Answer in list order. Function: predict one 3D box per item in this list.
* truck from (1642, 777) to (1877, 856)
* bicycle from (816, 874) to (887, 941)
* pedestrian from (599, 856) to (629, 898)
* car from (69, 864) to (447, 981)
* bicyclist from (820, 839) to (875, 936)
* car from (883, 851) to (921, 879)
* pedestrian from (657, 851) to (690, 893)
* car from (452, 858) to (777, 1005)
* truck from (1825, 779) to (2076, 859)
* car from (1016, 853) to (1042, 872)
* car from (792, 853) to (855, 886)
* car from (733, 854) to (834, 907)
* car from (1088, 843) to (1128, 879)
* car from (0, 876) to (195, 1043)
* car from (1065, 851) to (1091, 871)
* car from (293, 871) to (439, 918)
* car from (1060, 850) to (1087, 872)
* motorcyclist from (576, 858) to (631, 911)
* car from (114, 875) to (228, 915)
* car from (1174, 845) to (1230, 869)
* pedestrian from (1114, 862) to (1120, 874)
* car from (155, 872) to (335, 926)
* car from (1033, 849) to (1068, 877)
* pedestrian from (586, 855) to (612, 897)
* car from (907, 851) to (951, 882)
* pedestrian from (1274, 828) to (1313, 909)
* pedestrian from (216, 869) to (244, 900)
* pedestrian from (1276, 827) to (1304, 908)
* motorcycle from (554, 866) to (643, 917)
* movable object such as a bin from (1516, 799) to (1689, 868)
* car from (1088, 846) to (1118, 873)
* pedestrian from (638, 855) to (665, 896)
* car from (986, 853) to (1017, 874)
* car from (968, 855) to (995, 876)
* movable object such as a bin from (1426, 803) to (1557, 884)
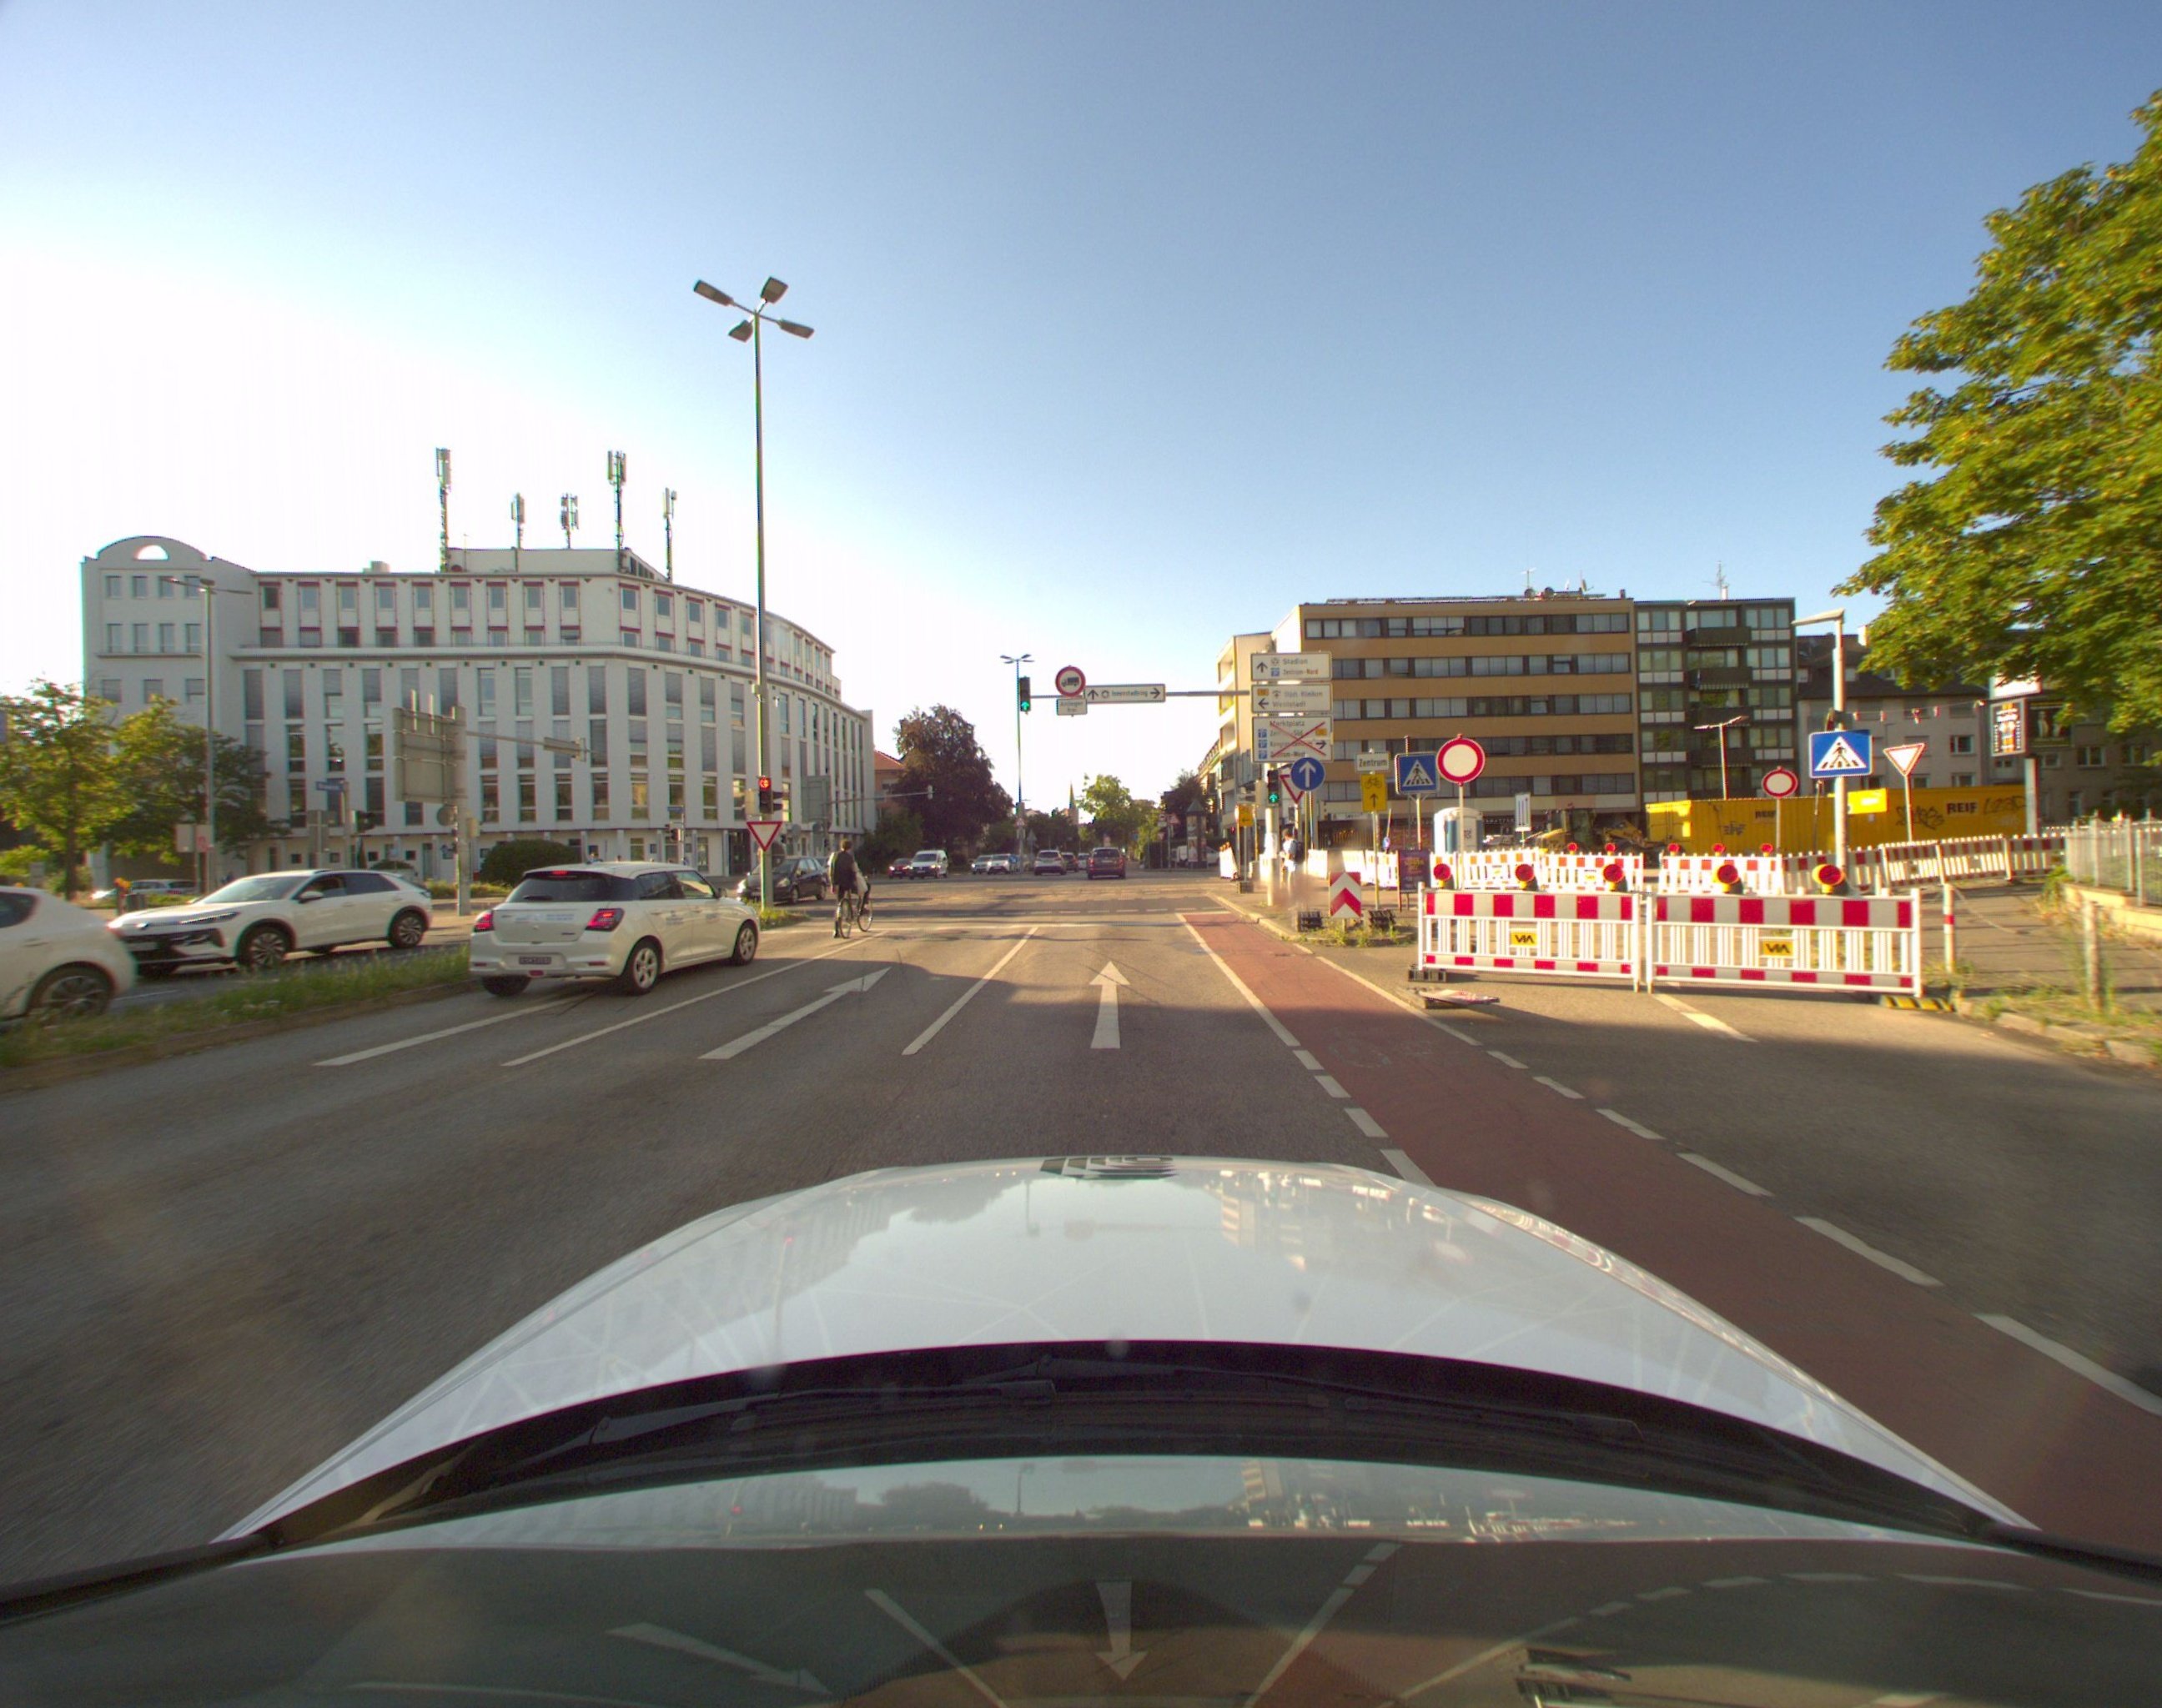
[{"bbox_3d":[27.489,-1.467,33.205,7.312,2.898,2.806,-2,0,-2],"label":"truck"},{"bbox_3d":[-4.312,0.968,15.468,0.697,1.100,2.257,-2,0,-1],"label":"bicycle"},{"bbox_3d":[-20.950,1.009,36.561,0.752,1.842,0.822,-2,0,17],"label":"pedestrian"},{"bbox_3d":[-13.291,0.987,13.674,1.679,1.498,4.514,-2,0,0],"label":"car"},{"bbox_3d":[-4.336,0.604,15.187,0.689,1.728,0.987,-2,0,-1],"label":"bicyclist"},{"bbox_3d":[-12.658,0.737,57.733,1.743,1.811,4.048,-2,0,-1],"label":"car"},{"bbox_3d":[-18.562,0.821,37.142,0.620,1.868,1.134,-2,0,30],"label":"pedestrian"},{"bbox_3d":[-5.587,0.818,10.446,1.678,1.457,4.003,-1,0,3],"label":"car"},{"bbox_3d":[35.405,-1.375,33.344,7.310,2.898,2.807,-2,0,-1],"label":"truck"},{"bbox_3d":[-4.196,0.639,66.523,1.842,1.461,4.048,-2,0,-1],"label":"car"},{"bbox_3d":[-12.884,0.748,40.977,1.652,1.494,4.347,-2,0,1],"label":"car"},{"bbox_3d":[-9.398,0.792,26.059,1.652,1.494,4.000,-2,0,1],"label":"car"},{"bbox_3d":[1.305,0.312,38.173,1.741,1.564,4.052,-2,0,3],"label":"car"},{"bbox_3d":[-10.179,0.961,6.425,1.678,1.392,4.182,-2,0,2],"label":"car"},{"bbox_3d":[-0.212,0.585,68.682,1.986,1.508,4.000,-3,-2,1],"label":"car"},{"bbox_3d":[-27.195,1.523,31.071,3.798,1.530,1.862,-3,-2,-2],"label":"car"},{"bbox_3d":[-0.520,0.505,62.003,1.741,1.564,4.052,-2,0,3],"label":"car"},{"bbox_3d":[-13.425,0.847,22.936,0.767,1.419,1.238,-2,0,0],"label":"motorcyclist"},{"bbox_3d":[-49.324,2.221,44.272,3.893,1.736,1.752,-2,-8,-40],"label":"car"},{"bbox_3d":[10.103,0.262,68.002,4.349,1.877,2.000,-2,0,0],"label":"car"},{"bbox_3d":[4.855,1.908,110.020,0.859,1.607,0.705,-2,0,0],"label":"pedestrian"},{"bbox_3d":[-28.556,1.507,27.890,4.323,1.629,2.004,-2,0,6],"label":"car"},{"bbox_3d":[-1.824,0.516,49.369,1.741,1.564,4.052,-2,0,3],"label":"car"},{"bbox_3d":[-21.772,0.971,36.803,0.653,1.859,0.783,-2,0,35],"label":"pedestrian"},{"bbox_3d":[-9.540,0.725,51.458,1.909,1.811,4.716,-2,0,-1],"label":"car"},{"bbox_3d":[4.819,0.326,18.432,0.735,1.799,0.719,-2,0,20],"label":"pedestrian"},{"bbox_3d":[-50.092,1.793,47.944,0.913,1.792,0.671,-2,0,-16],"label":"pedestrian"},{"bbox_3d":[4.935,0.312,19.256,0.518,1.868,0.615,-2,0,5],"label":"pedestrian"},{"bbox_3d":[-13.436,0.997,22.818,0.767,1.284,2.842,-2,0,0],"label":"motorcycle"},{"bbox_3d":[20.856,-0.803,32.785,5.333,2.490,2.547,-2,0,-1],"label":"movable object such as a bin"},{"bbox_3d":[1.398,0.335,51.864,1.813,1.640,4.001,-2,0,1],"label":"car"},{"bbox_3d":[-19.628,0.979,37.233,0.654,1.868,0.783,-2,0,25],"label":"pedestrian"},{"bbox_3d":[-5.851,0.687,60.387,1.842,1.461,4.048,-2,0,-1],"label":"car"},{"bbox_3d":[-8.638,0.966,70.961,1.874,1.654,4.048,-2,0,-1],"label":"car"},{"bbox_3d":[12.927,-0.336,25.785,3.316,2.383,1.529,-2,0,1],"label":"movable object such as a bin"}]
